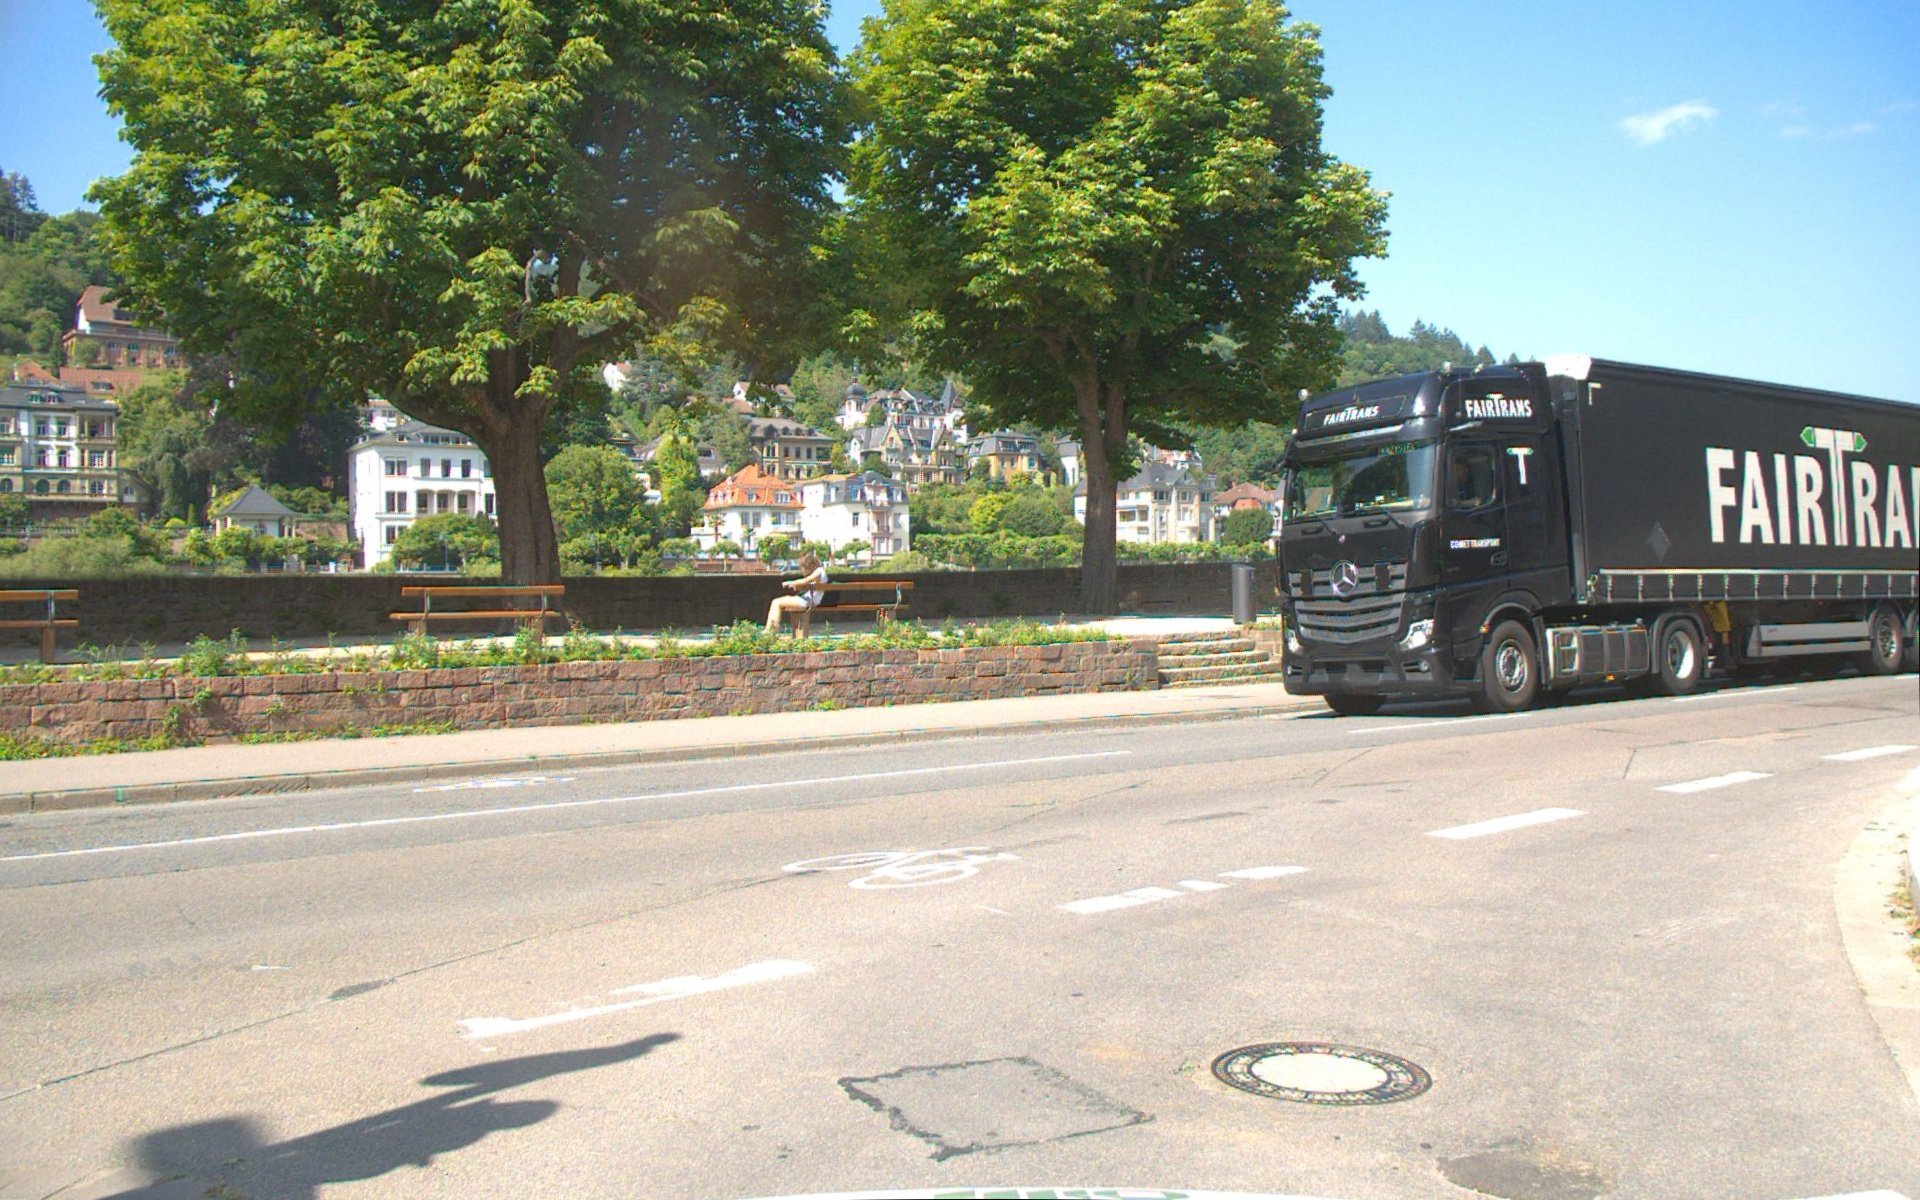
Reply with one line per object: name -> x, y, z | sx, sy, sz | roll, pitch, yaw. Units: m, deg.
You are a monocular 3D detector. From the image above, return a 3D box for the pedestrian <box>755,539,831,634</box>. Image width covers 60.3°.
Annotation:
pedestrian -> -2.295, -0.175, 22.696 | 0.790, 1.232, 0.707 | 1, -5, -33

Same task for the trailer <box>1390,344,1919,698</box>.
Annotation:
trailer -> 12.010, -1.016, 24.737 | 13.623, 4.176, 2.805 | -1, -2, -37

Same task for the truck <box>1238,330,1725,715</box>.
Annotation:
truck -> 6.600, -0.839, 20.646 | 5.869, 4.142, 2.802 | -1, -2, -37
